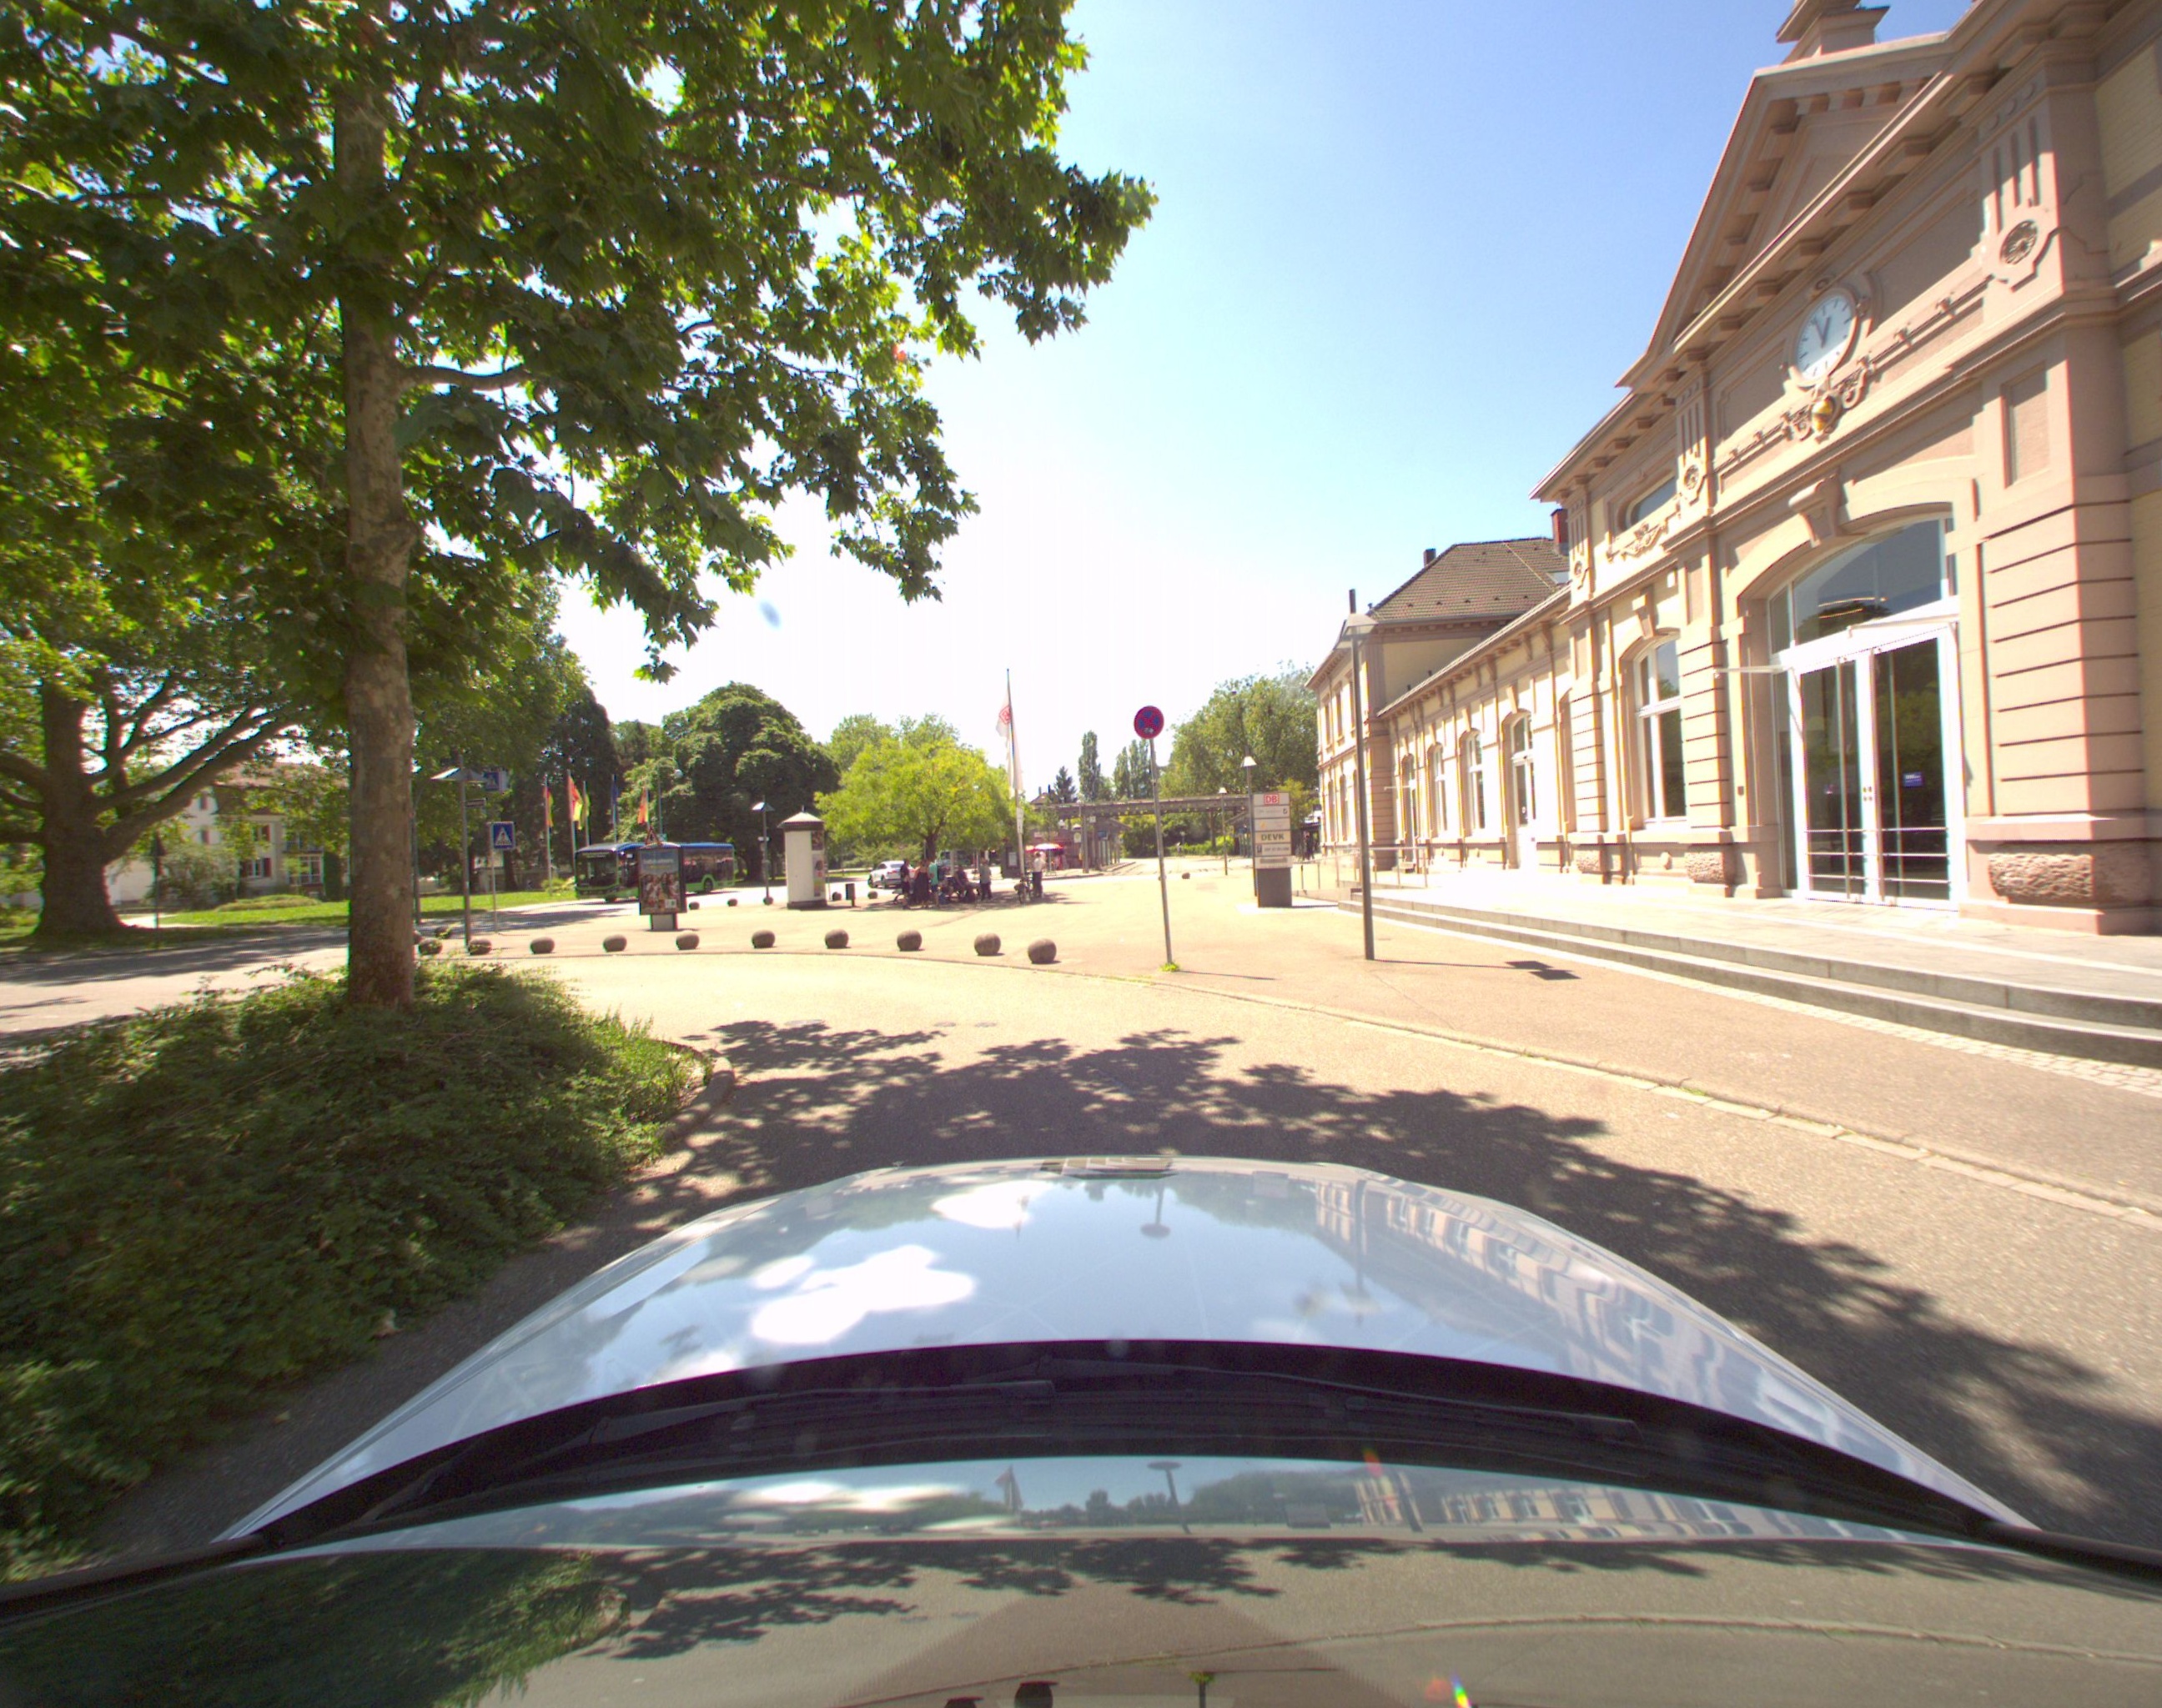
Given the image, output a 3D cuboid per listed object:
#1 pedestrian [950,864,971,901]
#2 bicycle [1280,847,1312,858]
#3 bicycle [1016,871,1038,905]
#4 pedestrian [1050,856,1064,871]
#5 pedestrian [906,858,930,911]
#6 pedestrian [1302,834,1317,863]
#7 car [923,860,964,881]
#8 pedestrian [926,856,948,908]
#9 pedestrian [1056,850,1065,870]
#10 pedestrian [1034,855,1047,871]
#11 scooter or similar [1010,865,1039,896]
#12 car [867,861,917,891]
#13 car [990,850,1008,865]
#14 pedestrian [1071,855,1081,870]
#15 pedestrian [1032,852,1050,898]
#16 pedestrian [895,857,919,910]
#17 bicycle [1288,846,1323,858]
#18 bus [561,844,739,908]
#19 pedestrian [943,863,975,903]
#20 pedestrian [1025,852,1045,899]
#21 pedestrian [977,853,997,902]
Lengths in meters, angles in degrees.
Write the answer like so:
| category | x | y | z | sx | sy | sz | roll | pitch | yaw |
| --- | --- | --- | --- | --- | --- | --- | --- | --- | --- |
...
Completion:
| category | x | y | z | sx | sy | sz | roll | pitch | yaw |
| --- | --- | --- | --- | --- | --- | --- | --- | --- | --- |
| pedestrian | -4.594 | 1.067 | 30.963 | 0.600 | 1.364 | 0.595 | -3 | 0 | -22 |
| bicycle | 19.911 | -0.168 | 75.477 | 2.773 | 1.004 | 0.812 | 0 | -1 | 4 |
| bicycle | -1.837 | 1.146 | 28.108 | 0.418 | 1.060 | 1.951 | -3 | 0 | 5 |
| pedestrian | -2.027 | 0.807 | 69.346 | 0.897 | 1.161 | 0.682 | -3 | 0 | -28 |
| pedestrian | -5.464 | 1.015 | 27.291 | 0.627 | 1.739 | 0.544 | -3 | 0 | -19 |
| pedestrian | 14.431 | -0.338 | 51.363 | 0.681 | 1.809 | 0.635 | -3 | 0 | 28 |
| car | -11.197 | 1.313 | 66.577 | 1.917 | 1.460 | 4.733 | -5 | 0 | 6 |
| pedestrian | -4.914 | 0.938 | 27.733 | 0.585 | 1.739 | 0.596 | -3 | 0 | -19 |
| pedestrian | -1.829 | 0.521 | 72.806 | 0.682 | 1.737 | 0.708 | -3 | 0 | 7 |
| pedestrian | -3.464 | 0.745 | 69.606 | 0.897 | 1.312 | 0.682 | -3 | 0 | -28 |
| scooter or similar | -2.181 | 1.026 | 31.464 | 1.022 | 1.139 | 0.294 | -3 | 0 | -1 |
| car | -11.513 | 1.316 | 49.465 | 1.992 | 1.627 | 4.739 | -3 | 0 | -24 |
| car | -12.234 | 0.518 | 121.112 | 2.203 | 2.173 | 4.864 | -3 | 0 | -10 |
| pedestrian | -0.438 | 0.697 | 68.584 | 0.755 | 1.205 | 0.738 | -1 | -1 | 7 |
| pedestrian | -1.501 | 0.769 | 30.493 | 0.552 | 1.685 | 0.586 | -3 | 0 | -6 |
| pedestrian | -5.923 | 0.988 | 27.731 | 0.693 | 1.763 | 0.582 | -3 | 0 | -17 |
| bicycle | 19.213 | -0.203 | 69.607 | 2.773 | 1.004 | 0.812 | 0 | -1 | 4 |
| bus | -25.540 | 1.102 | 49.484 | 2.794 | 3.282 | 12.449 | -3 | 0 | 7 |
| pedestrian | -4.453 | 1.054 | 29.749 | 0.914 | 1.386 | 0.937 | -3 | 0 | -23 |
| pedestrian | -1.696 | 0.790 | 29.866 | 0.616 | 1.685 | 0.590 | -3 | 0 | -6 |
| pedestrian | -3.411 | 0.839 | 29.500 | 0.512 | 1.739 | 0.566 | -3 | 0 | -23 |
